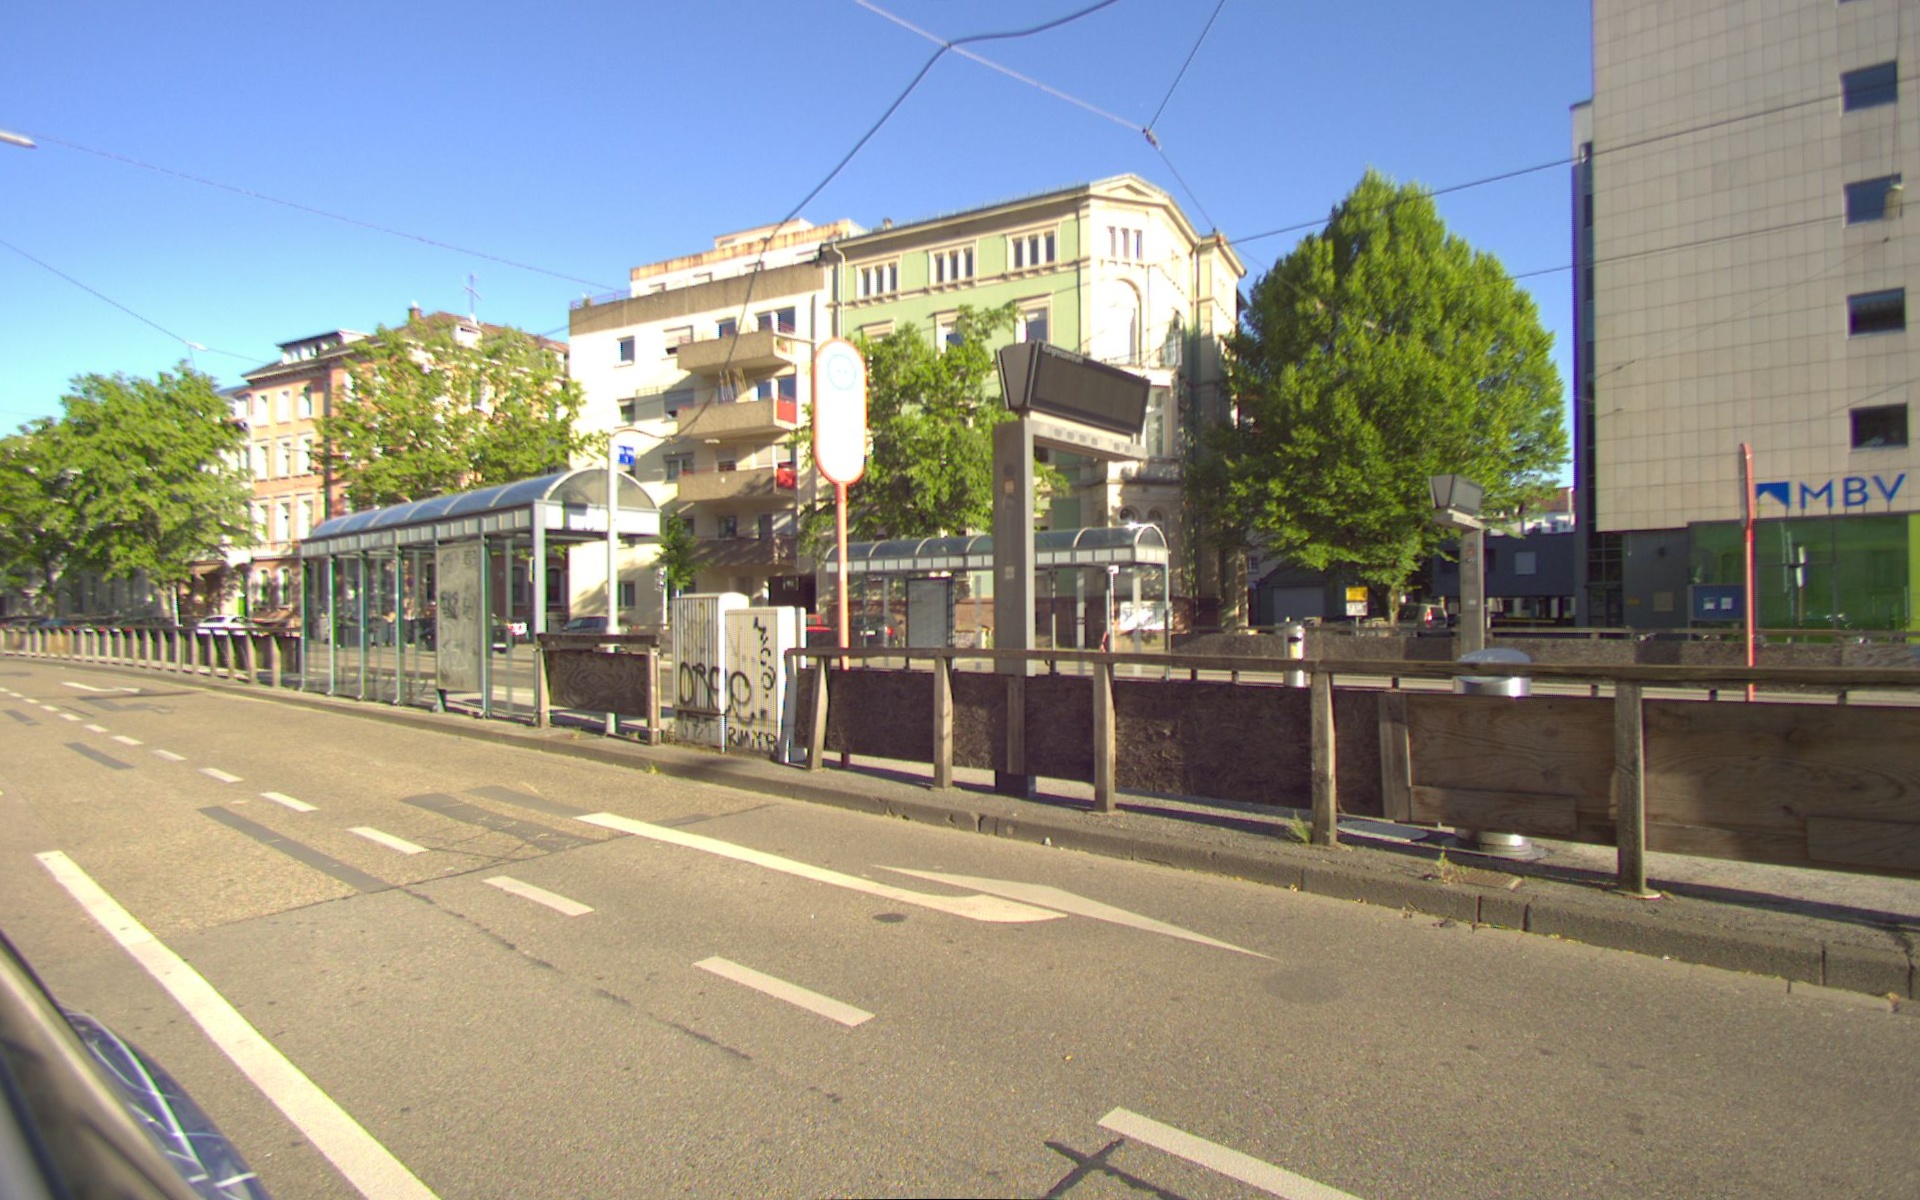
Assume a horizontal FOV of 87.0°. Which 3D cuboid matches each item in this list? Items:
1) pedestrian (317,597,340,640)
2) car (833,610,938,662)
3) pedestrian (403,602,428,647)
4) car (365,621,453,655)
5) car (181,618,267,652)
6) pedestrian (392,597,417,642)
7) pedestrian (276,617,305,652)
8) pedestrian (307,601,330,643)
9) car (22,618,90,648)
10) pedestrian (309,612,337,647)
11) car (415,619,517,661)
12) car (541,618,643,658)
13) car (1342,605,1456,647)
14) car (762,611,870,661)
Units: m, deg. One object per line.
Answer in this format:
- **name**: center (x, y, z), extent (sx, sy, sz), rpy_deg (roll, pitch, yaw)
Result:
- **pedestrian**: center (-32.966, 0.945, 52.798), extent (0.756, 2.224, 0.802), rpy_deg (-1, -2, 39)
- **car**: center (-2.407, 1.161, 33.487), extent (1.754, 1.594, 3.965), rpy_deg (-1, -1, 26)
- **pedestrian**: center (-26.999, 1.220, 50.215), extent (0.753, 2.224, 0.804), rpy_deg (-1, -2, 30)
- **car**: center (-23.821, 1.615, 43.721), extent (3.986, 1.407, 1.592), rpy_deg (-1, -2, 32)
- **car**: center (-39.437, 1.849, 54.357), extent (1.825, 1.721, 4.130), rpy_deg (0, -1, -5)
- **pedestrian**: center (-27.842, 0.967, 50.751), extent (0.753, 2.224, 0.804), rpy_deg (-1, -2, 30)
- **pedestrian**: center (-31.966, 1.660, 48.324), extent (0.888, 1.641, 0.859), rpy_deg (-1, -2, 31)
- **pedestrian**: center (-34.167, 1.190, 53.881), extent (0.755, 2.224, 0.803), rpy_deg (-1, -2, 36)
- **car**: center (-44.336, 1.620, 49.606), extent (3.870, 1.419, 1.650), rpy_deg (-1, -2, 35)
- **pedestrian**: center (-31.843, 1.471, 50.601), extent (1.016, 1.733, 0.846), rpy_deg (-1, -2, 32)
- **car**: center (-18.554, 1.466, 37.948), extent (3.988, 1.500, 1.629), rpy_deg (-1, -2, 33)
- **car**: center (-14.026, 1.421, 38.538), extent (3.725, 1.438, 1.637), rpy_deg (-1, -1, 29)
- **car**: center (15.775, 0.894, 36.462), extent (1.544, 1.423, 3.430), rpy_deg (-1, 0, -38)
- **car**: center (-4.841, 1.192, 34.535), extent (1.754, 1.594, 3.965), rpy_deg (-1, -1, 26)
